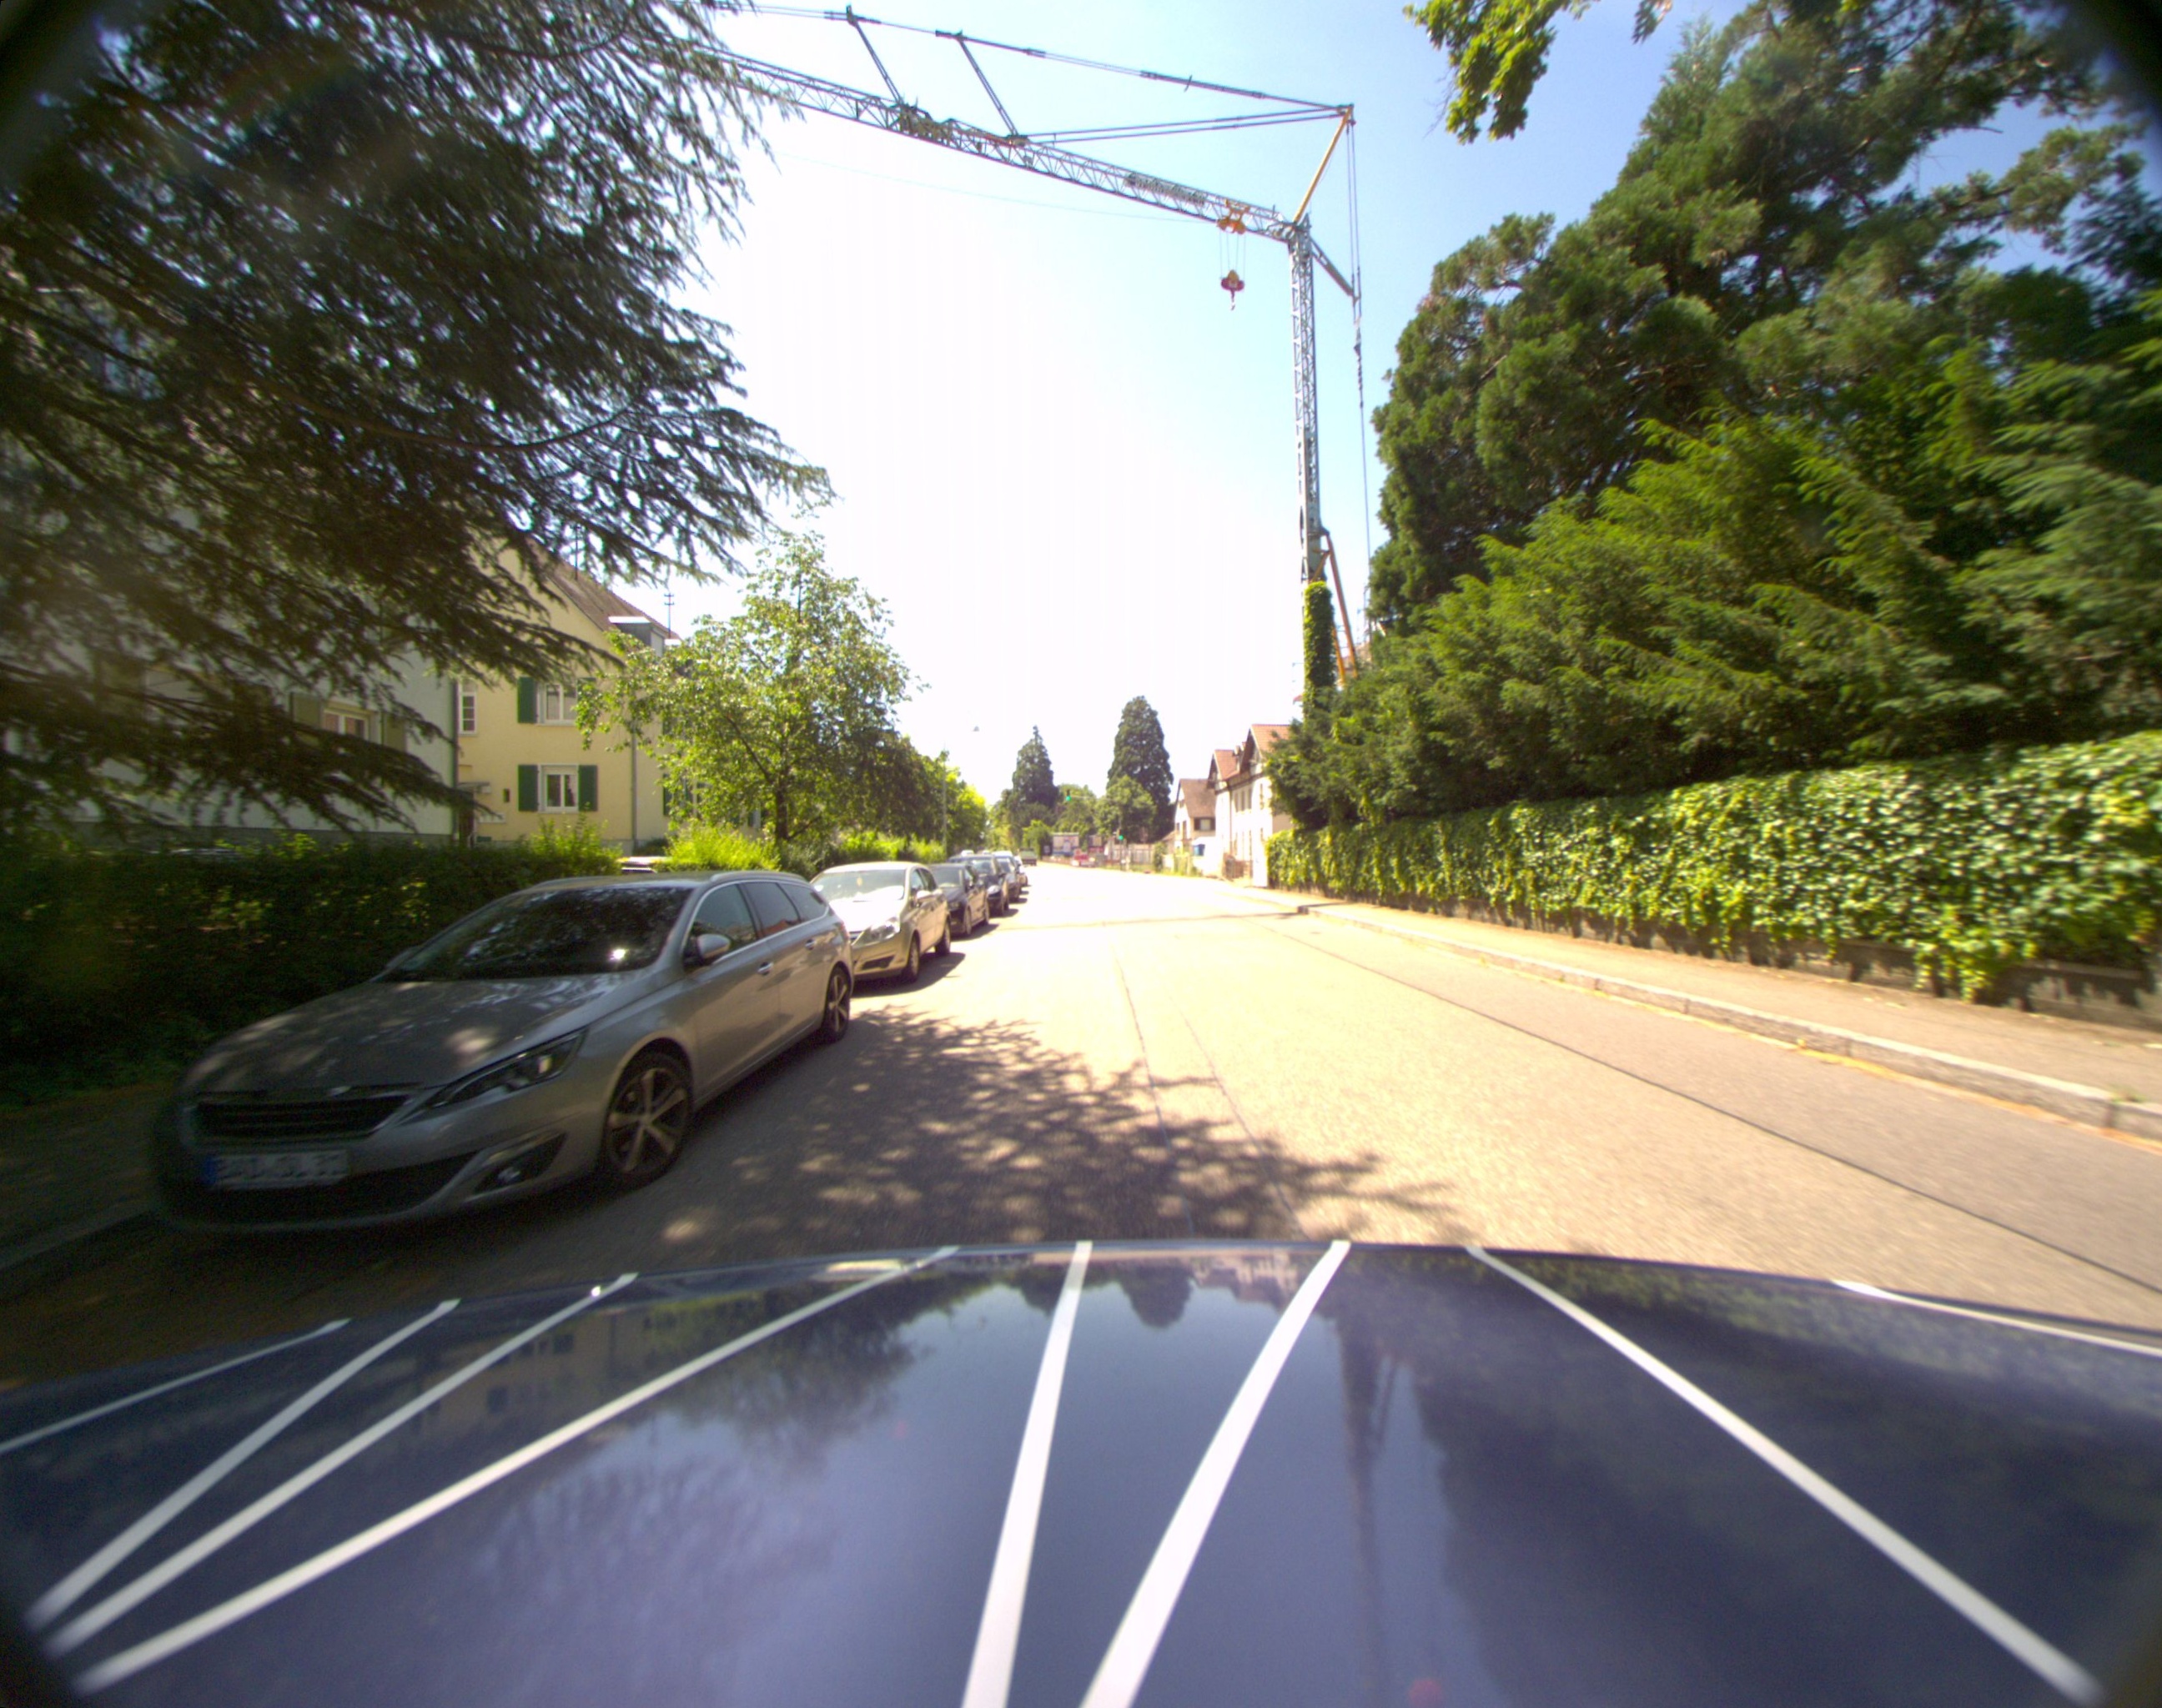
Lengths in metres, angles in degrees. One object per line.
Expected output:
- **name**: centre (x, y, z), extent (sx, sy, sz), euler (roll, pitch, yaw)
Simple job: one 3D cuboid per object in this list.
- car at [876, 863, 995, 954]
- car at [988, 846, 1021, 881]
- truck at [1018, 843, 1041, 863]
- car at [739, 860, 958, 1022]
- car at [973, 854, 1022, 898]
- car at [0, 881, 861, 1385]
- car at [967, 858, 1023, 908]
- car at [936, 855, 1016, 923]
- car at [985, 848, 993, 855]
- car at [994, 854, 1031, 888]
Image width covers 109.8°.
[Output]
- **car**: centre (-2.814, 1.003, 15.559), extent (1.585, 1.434, 4.007), euler (-5, 0, -1)
- **car**: centre (-4.477, 0.516, 44.257), extent (1.667, 1.793, 4.200), euler (-4, 1, -6)
- **truck**: centre (-6.441, -0.121, 94.586), extent (2.135, 2.325, 6.428), euler (-1, 0, -10)
- **car**: centre (-2.827, 0.956, 10.219), extent (1.619, 1.504, 4.063), euler (-5, 1, -1)
- **car**: centre (-3.428, 0.863, 31.808), extent (1.666, 1.530, 4.201), euler (-3, 1, -3)
- **car**: centre (-2.845, 0.997, 4.671), extent (1.618, 1.442, 4.374), euler (-1, 1, 1)
- **car**: centre (-2.855, 0.909, 25.804), extent (1.666, 1.423, 4.201), euler (-2, 1, -4)
- **car**: centre (-2.724, 0.851, 20.471), extent (1.585, 1.566, 4.007), euler (-2, 0, -1)
- **car**: centre (-20.729, -0.589, 171.062), extent (1.658, 1.553, 3.881), euler (0, 1, -9)
- **car**: centre (-3.372, 0.803, 37.927), extent (1.666, 1.427, 4.126), euler (-4, 1, -4)
